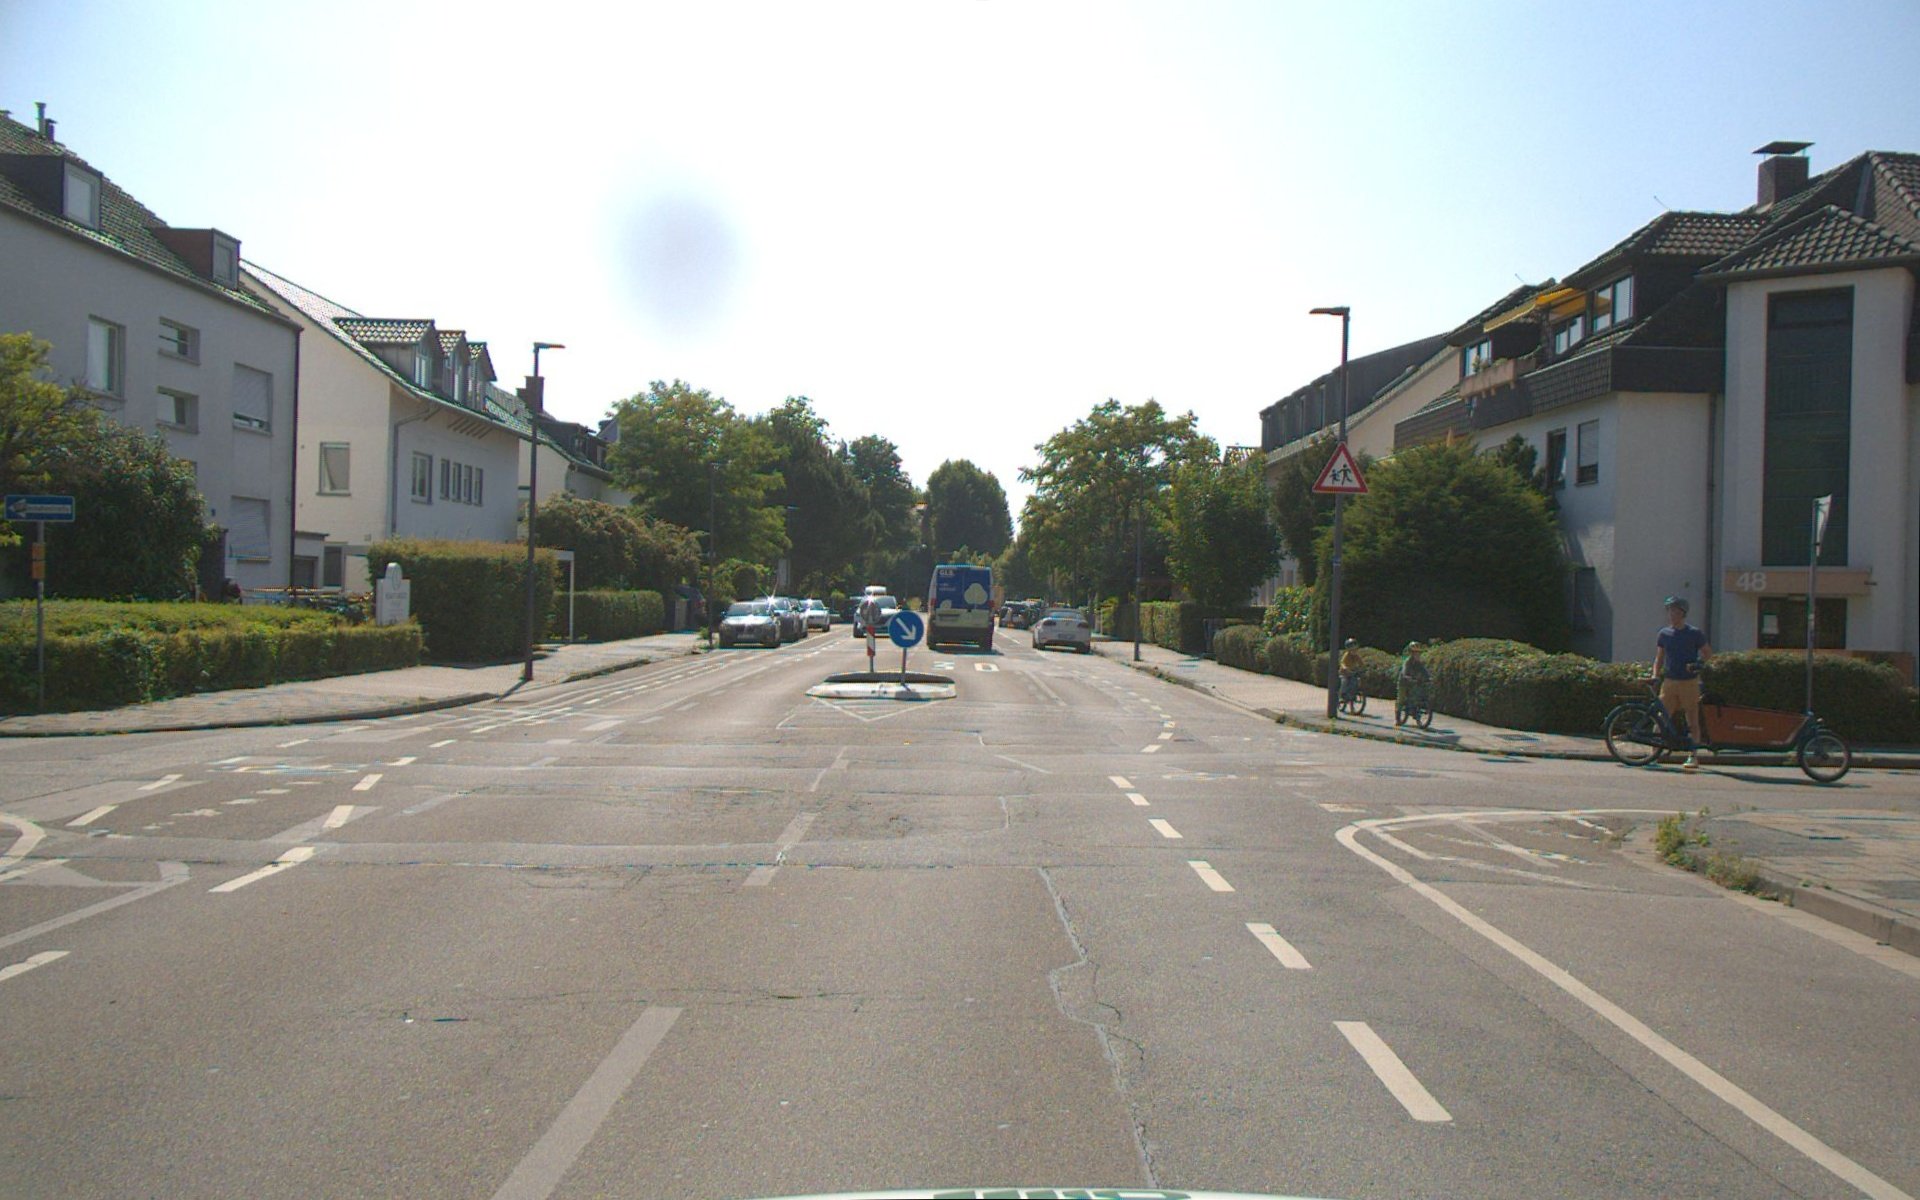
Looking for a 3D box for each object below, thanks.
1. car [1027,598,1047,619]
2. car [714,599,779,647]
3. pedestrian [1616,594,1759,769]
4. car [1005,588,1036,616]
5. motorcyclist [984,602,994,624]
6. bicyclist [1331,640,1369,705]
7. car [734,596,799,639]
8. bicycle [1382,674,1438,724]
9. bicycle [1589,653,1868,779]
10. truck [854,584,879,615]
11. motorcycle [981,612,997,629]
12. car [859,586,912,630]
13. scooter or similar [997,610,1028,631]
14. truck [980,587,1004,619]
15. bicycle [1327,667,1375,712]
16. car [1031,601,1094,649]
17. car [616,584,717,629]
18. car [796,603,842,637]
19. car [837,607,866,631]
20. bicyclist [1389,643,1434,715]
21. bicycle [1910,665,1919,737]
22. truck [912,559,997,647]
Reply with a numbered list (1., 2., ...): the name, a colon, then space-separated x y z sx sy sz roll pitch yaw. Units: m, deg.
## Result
1. car: 6.418 0.685 137.961 1.665 1.706 3.776 1 0 2
2. car: -6.684 0.689 52.139 1.750 1.465 4.152 0 0 -3
3. pedestrian: 8.239 0.898 18.753 0.890 1.905 1.175 2 -1 -33
4. car: 3.773 0.115 103.833 1.748 1.666 4.471 2 0 1
5. motorcyclist: 2.131 0.958 121.065 0.658 1.545 0.652 1 -1 0
6. bicyclist: 5.883 1.088 24.959 0.390 0.950 0.608 1 -1 -3
7. car: -6.843 0.600 58.778 1.748 1.465 4.111 0 0 1
8. bicycle: 6.135 1.347 22.591 0.393 0.610 1.173 1 0 -3
9. bicycle: 8.321 1.218 17.965 2.654 1.178 0.861 1 -1 32
10. truck: -8.193 -0.051 145.228 2.039 2.581 5.463 1 0 -3
11. motorcycle: 2.125 1.500 121.118 1.035 1.142 2.991 1 -1 0
12. car: -2.947 0.321 66.305 1.875 1.696 4.506 0 0 1
13. scooter or similar: 3.189 1.247 100.928 1.768 1.174 0.715 5 0 45
14. truck: 3.037 0.313 159.130 2.169 2.998 5.686 1 -1 0
15. bicycle: 5.895 1.342 24.953 0.393 0.610 1.150 1 0 -3
16. car: 3.413 0.818 55.601 1.705 1.426 4.072 3 0 -1
17. car: -12.560 0.253 70.933 3.905 1.790 2.000 2 0 0
18. car: -6.403 0.889 75.296 1.749 1.465 3.999 1 0 -1
19. car: -7.190 1.251 110.156 1.745 1.485 4.085 1 0 -1
20. bicyclist: 6.142 1.065 22.531 0.393 0.946 0.657 1 -1 -3
21. bicycle: 15.967 1.615 26.747 1.672 1.114 0.622 -1 1 -44
22. truck: -0.229 0.101 52.608 2.228 2.616 4.386 1 -1 -6
